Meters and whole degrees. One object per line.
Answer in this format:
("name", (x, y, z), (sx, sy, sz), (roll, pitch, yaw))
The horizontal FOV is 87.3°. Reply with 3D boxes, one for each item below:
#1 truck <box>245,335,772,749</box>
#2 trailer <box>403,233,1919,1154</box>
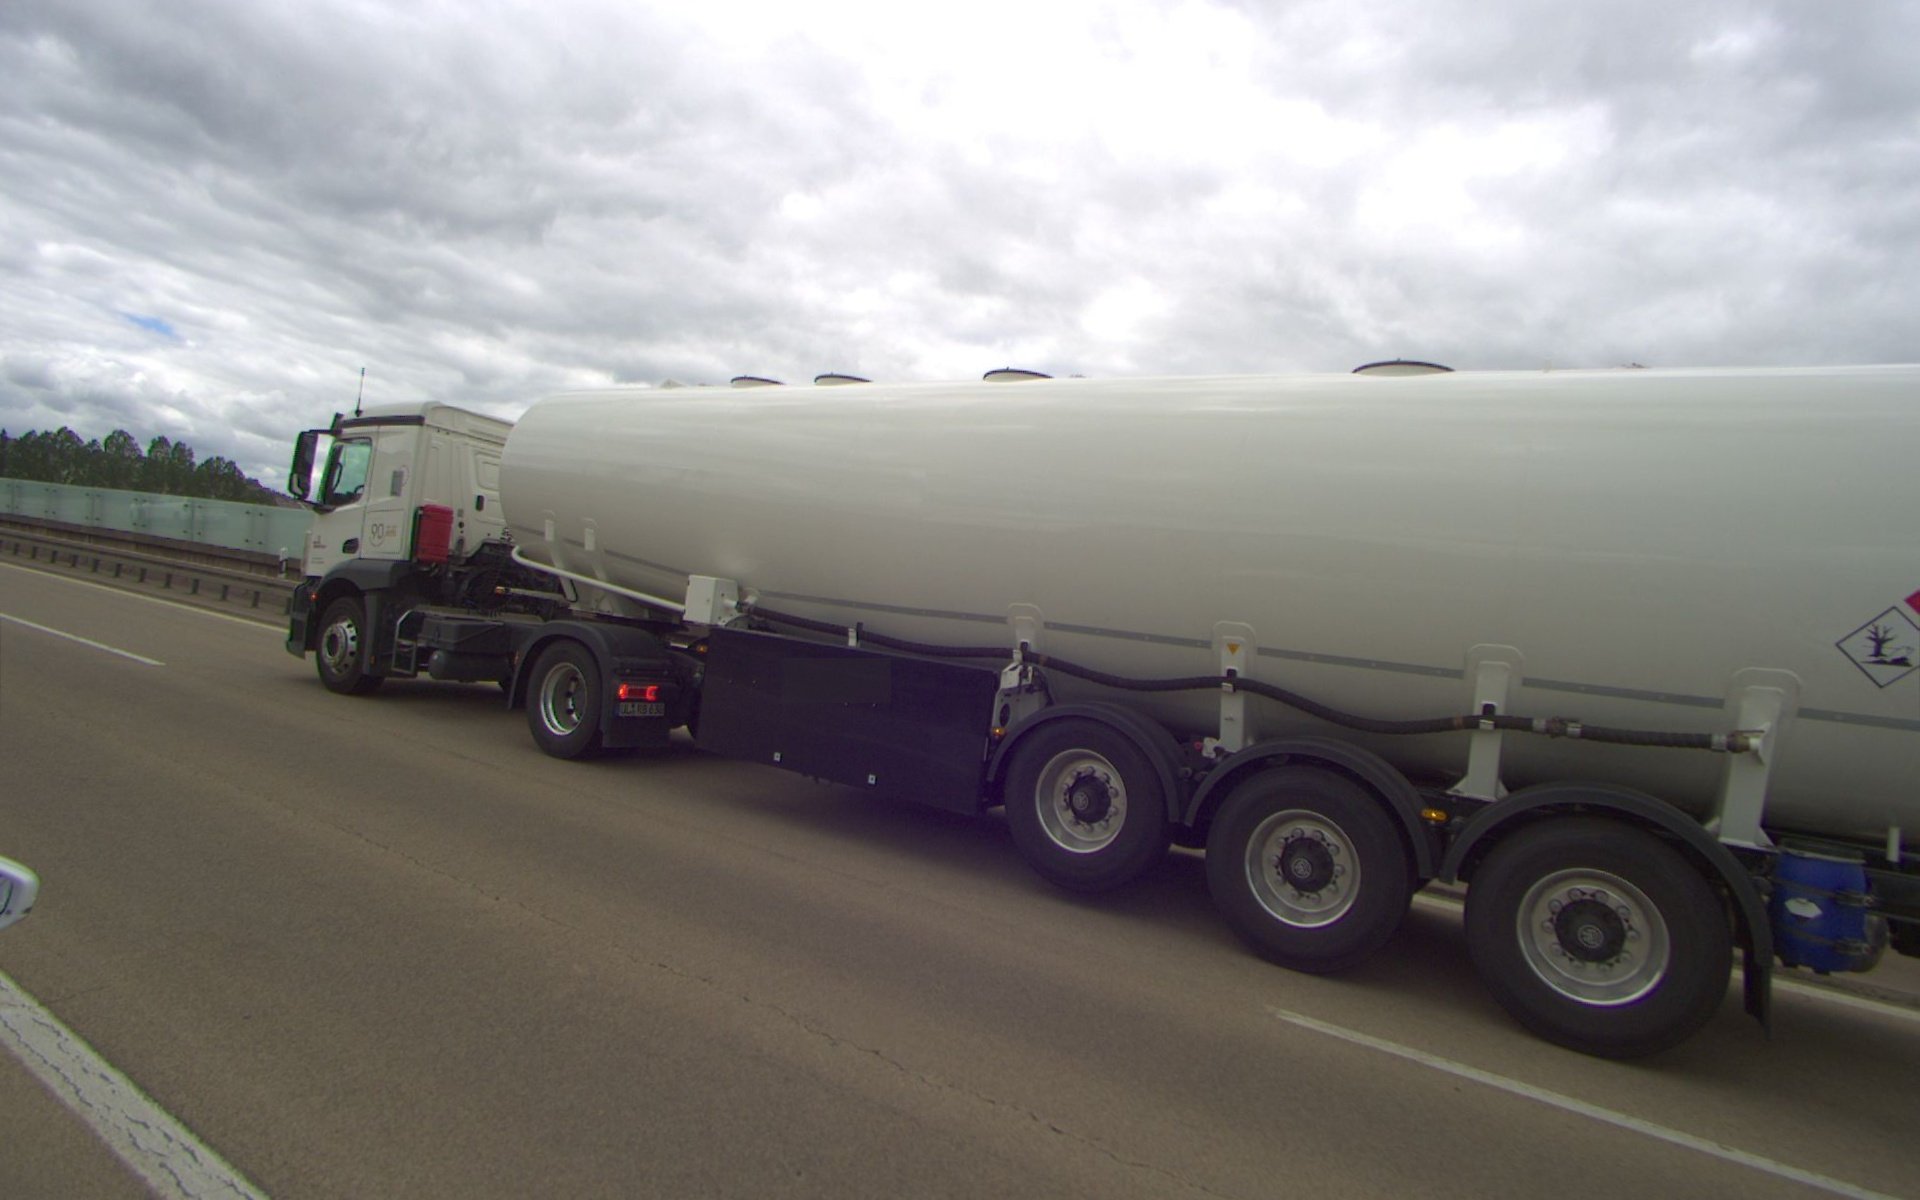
("truck", (-4.960, -0.611, 10.965), (4.822, 3.555, 2.636), (7, -1, 32))
("trailer", (0.362, -0.027, 7.627), (11.034, 3.585, 2.655), (7, -1, 32))
